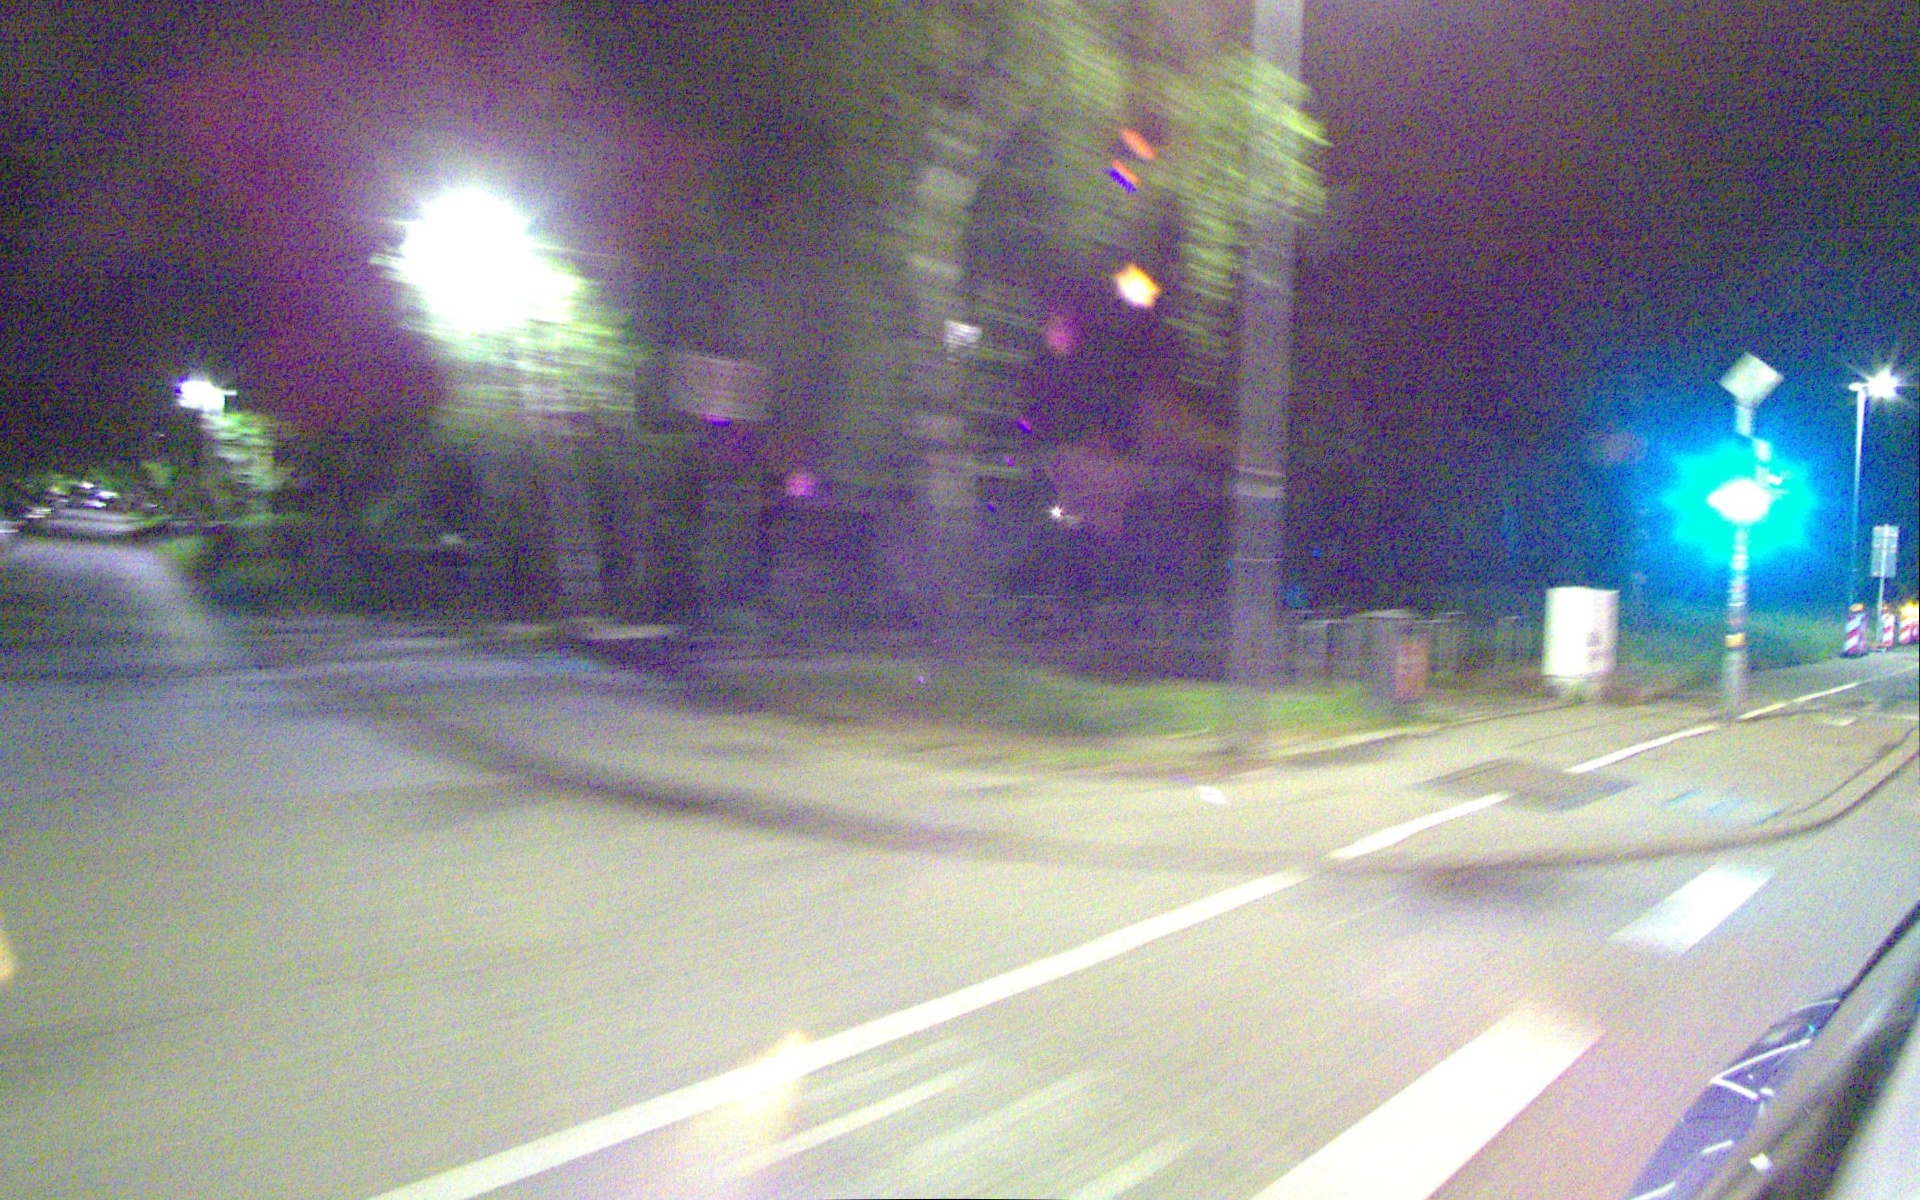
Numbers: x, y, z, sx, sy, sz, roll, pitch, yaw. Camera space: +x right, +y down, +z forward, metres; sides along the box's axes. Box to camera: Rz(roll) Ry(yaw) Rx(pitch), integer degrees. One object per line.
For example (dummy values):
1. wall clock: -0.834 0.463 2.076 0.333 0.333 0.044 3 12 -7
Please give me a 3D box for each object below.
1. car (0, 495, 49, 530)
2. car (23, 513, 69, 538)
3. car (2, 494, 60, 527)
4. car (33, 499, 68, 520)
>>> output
1. car: -47.448 -4.404 50.950 1.963 1.615 3.999 0 3 -37
2. car: -62.780 -5.101 69.576 1.963 1.615 3.999 0 3 -37
3. car: -50.467 -4.847 55.041 1.963 1.615 3.999 0 3 -37
4. car: -80.719 -8.024 89.903 1.963 1.615 3.999 0 3 -37
